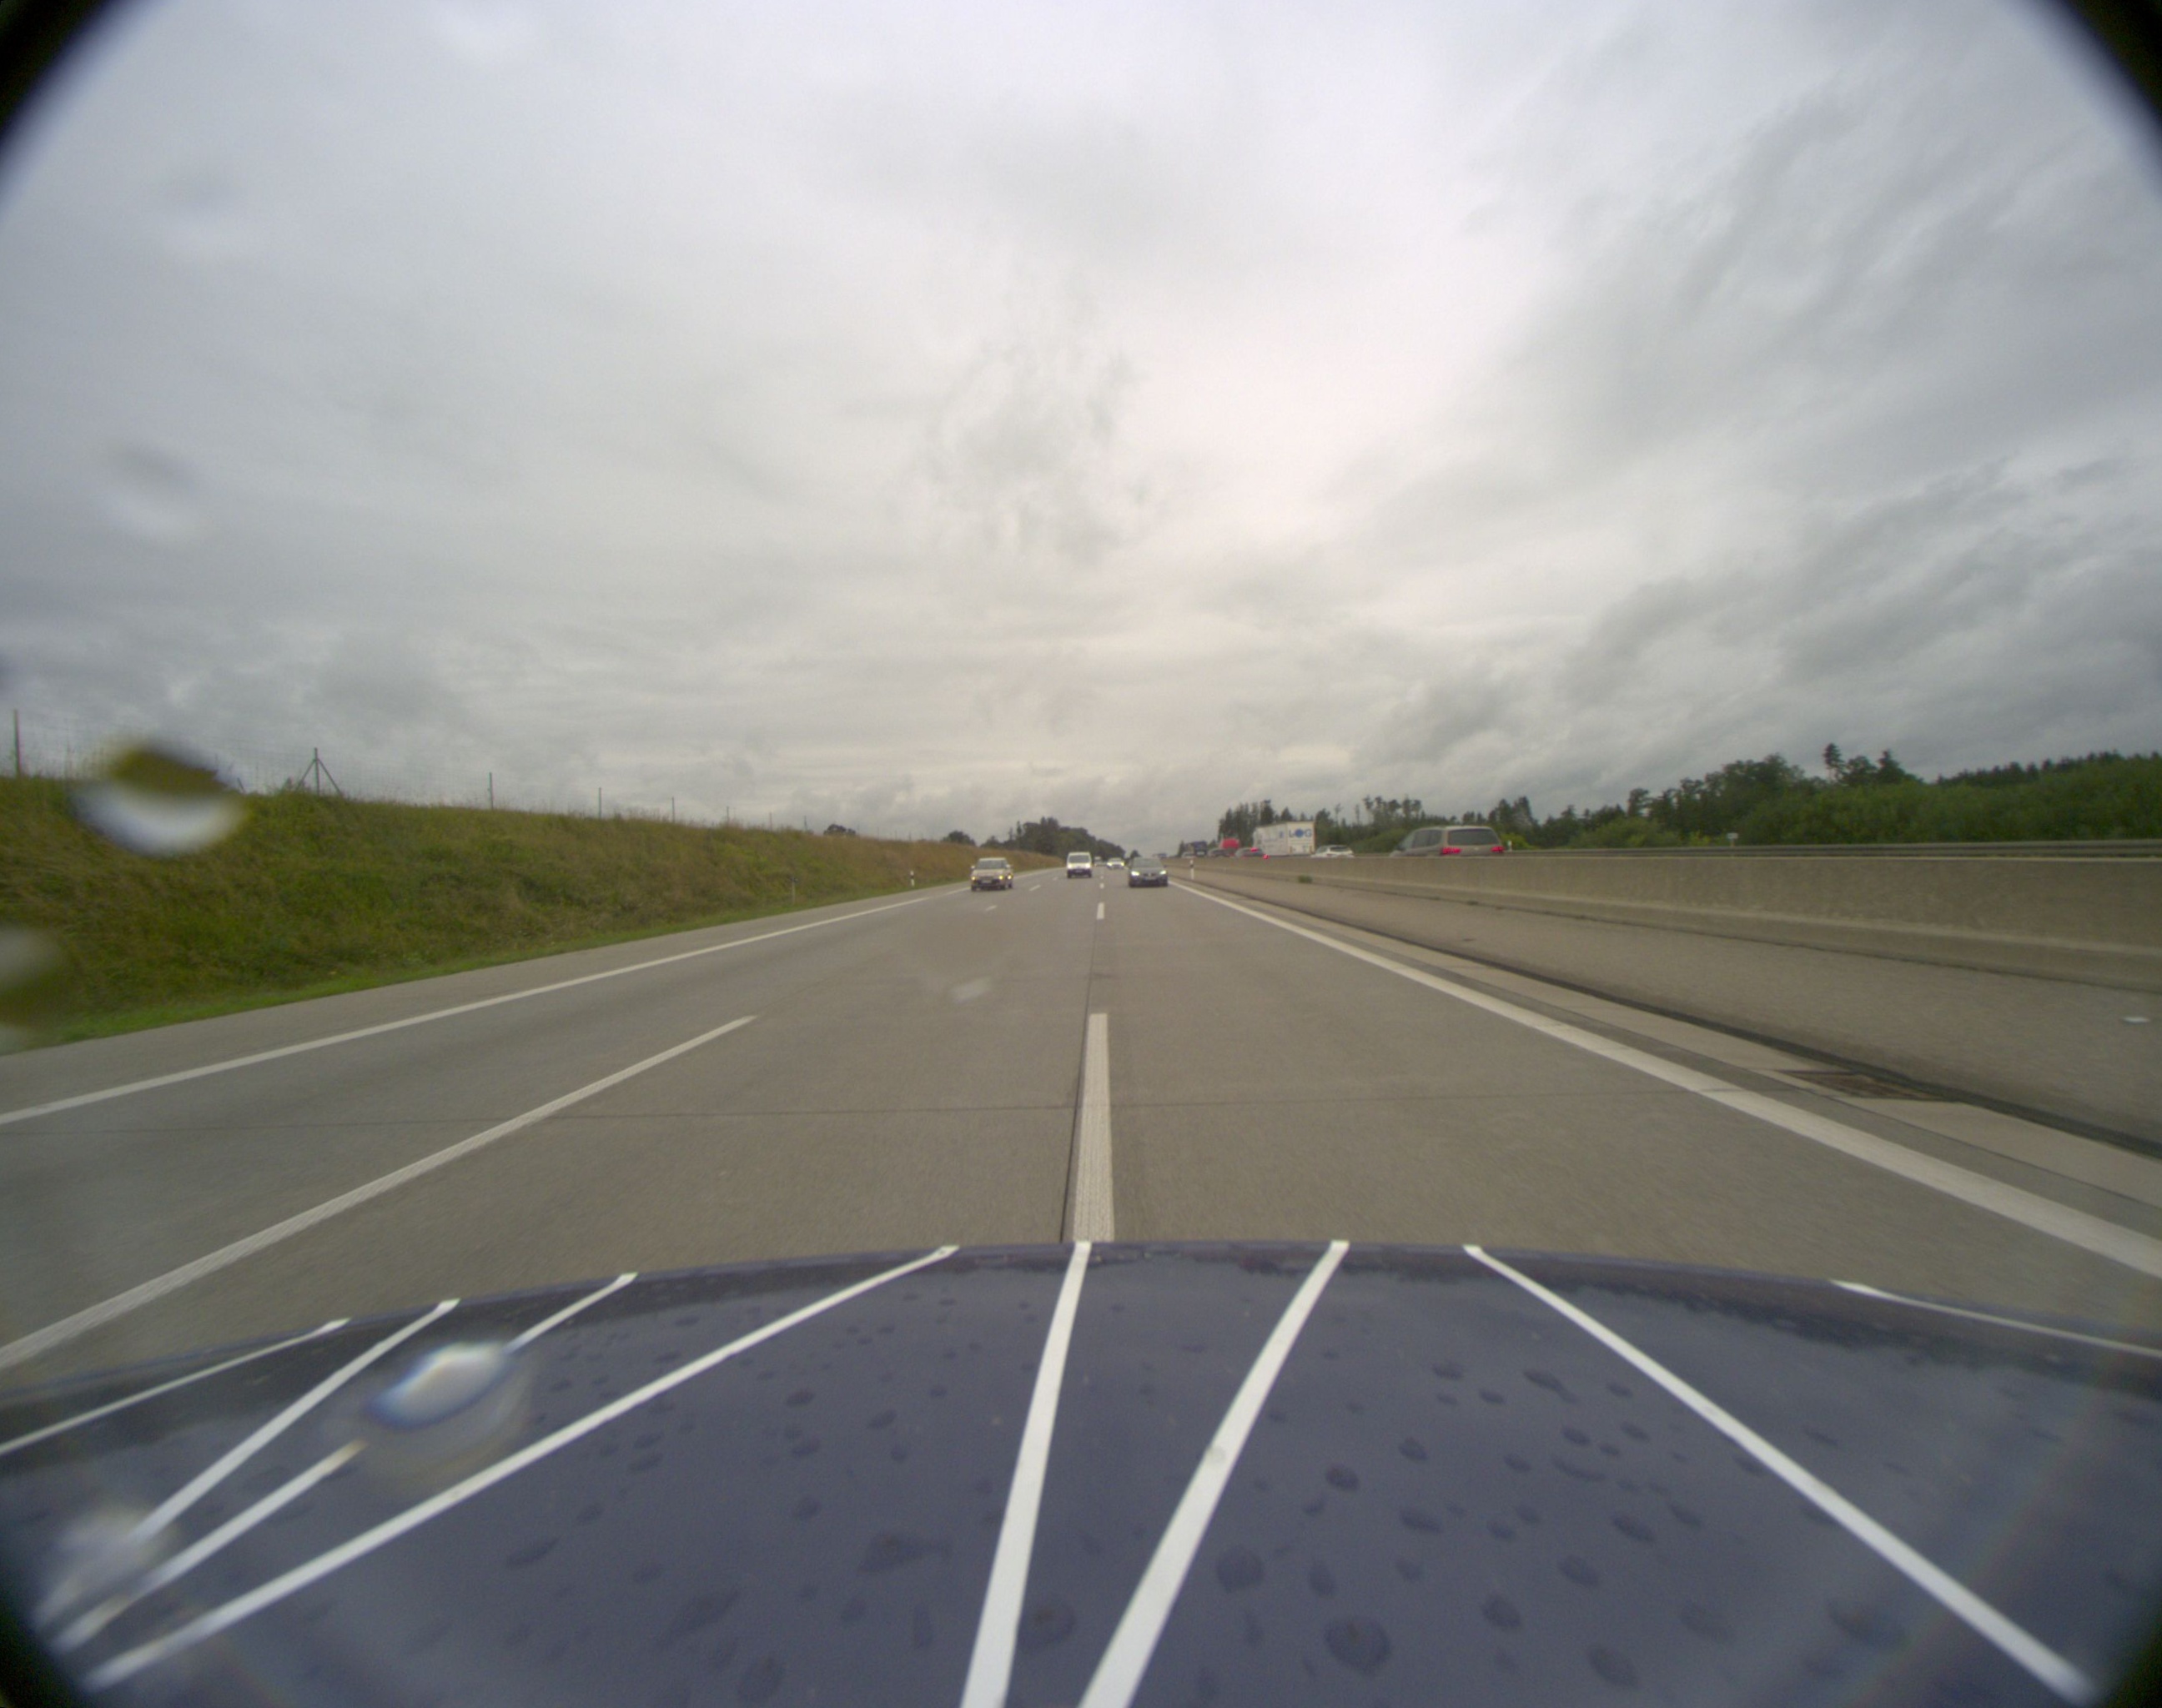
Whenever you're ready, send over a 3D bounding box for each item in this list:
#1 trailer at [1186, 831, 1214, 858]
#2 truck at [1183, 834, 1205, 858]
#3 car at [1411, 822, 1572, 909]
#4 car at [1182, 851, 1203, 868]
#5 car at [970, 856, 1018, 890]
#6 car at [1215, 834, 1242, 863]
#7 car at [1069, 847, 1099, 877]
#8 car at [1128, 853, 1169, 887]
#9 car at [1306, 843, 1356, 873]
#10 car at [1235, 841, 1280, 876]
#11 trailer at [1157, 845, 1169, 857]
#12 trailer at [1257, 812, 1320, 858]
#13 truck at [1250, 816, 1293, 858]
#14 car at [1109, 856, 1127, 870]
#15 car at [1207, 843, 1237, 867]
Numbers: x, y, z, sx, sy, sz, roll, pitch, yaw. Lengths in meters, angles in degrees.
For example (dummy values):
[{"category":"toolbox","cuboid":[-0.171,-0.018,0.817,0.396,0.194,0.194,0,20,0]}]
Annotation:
[{"category":"trailer","cuboid":[23.011,-1.669,147.684,3.607,4.771,12.910,-2,-1,2]},{"category":"truck","cuboid":[23.264,-1.618,156.504,3.596,4.790,5.870,-2,0,1]},{"category":"car","cuboid":[10.692,0.261,20.270,1.692,2.002,4.837,-2,0,1]},{"category":"car","cuboid":[13.405,0.689,91.634,1.806,2.001,4.727,-2,-1,1]},{"category":"car","cuboid":[-4.438,0.959,39.451,1.789,1.595,4.572,-2,-1,2]},{"category":"car","cuboid":[16.172,-0.579,83.303,1.806,2.941,5.579,-2,0,0]},{"category":"car","cuboid":[0.299,0.617,58.547,2.042,2.111,6.070,-2,-1,3]},{"category":"car","cuboid":[3.231,0.757,37.214,1.789,1.471,4.572,-2,-1,3]},{"category":"car","cuboid":[15.289,0.262,46.696,1.499,1.738,4.579,-2,-1,1]},{"category":"car","cuboid":[11.037,0.250,47.829,1.692,2.002,4.837,-2,0,1]},{"category":"trailer","cuboid":[27.266,-0.851,252.818,2.856,3.814,12.402,-2,-1,3]},{"category":"trailer","cuboid":[20.302,-1.683,75.279,2.895,3.979,13.017,-2,-1,1]},{"category":"truck","cuboid":[20.451,-1.724,81.881,2.890,4.265,7.138,-2,-1,1]},{"category":"car","cuboid":[4.761,1.128,96.864,2.030,1.669,4.321,-2,-1,5]},{"category":"car","cuboid":[12.344,0.072,66.660,1.692,2.002,4.837,-2,0,1]}]
